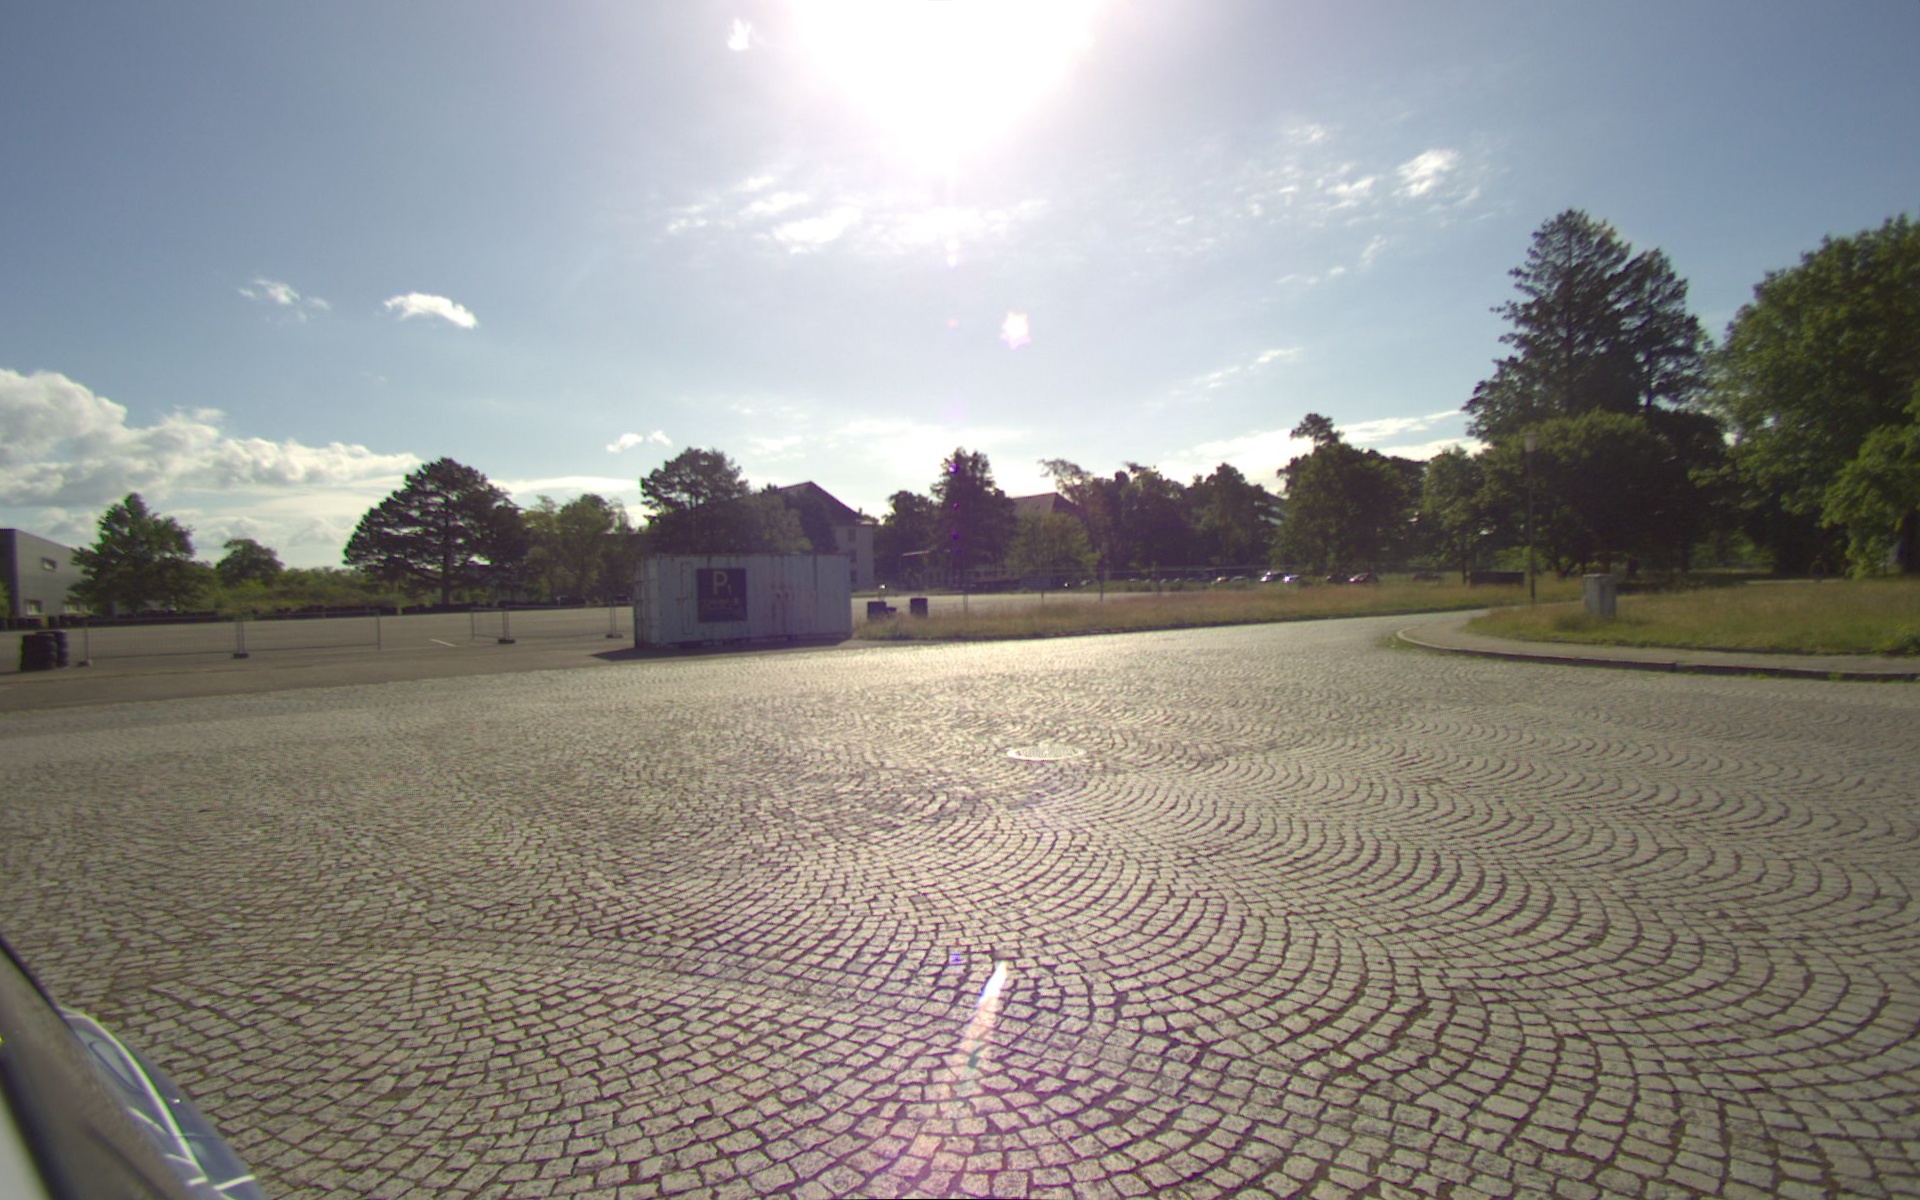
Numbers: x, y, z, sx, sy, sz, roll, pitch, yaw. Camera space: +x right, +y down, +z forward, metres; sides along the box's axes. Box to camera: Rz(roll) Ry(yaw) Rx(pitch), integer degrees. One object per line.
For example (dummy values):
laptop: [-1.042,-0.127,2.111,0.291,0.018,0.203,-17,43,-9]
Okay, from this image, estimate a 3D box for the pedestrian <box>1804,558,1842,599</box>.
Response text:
pedestrian: [42.463,-1.048,49.816,1.108,1.943,1.163,-3,2,-35]

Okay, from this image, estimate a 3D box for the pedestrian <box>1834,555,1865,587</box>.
pedestrian: [55.728,-1.831,63.383,1.302,1.943,1.163,-3,2,-35]
